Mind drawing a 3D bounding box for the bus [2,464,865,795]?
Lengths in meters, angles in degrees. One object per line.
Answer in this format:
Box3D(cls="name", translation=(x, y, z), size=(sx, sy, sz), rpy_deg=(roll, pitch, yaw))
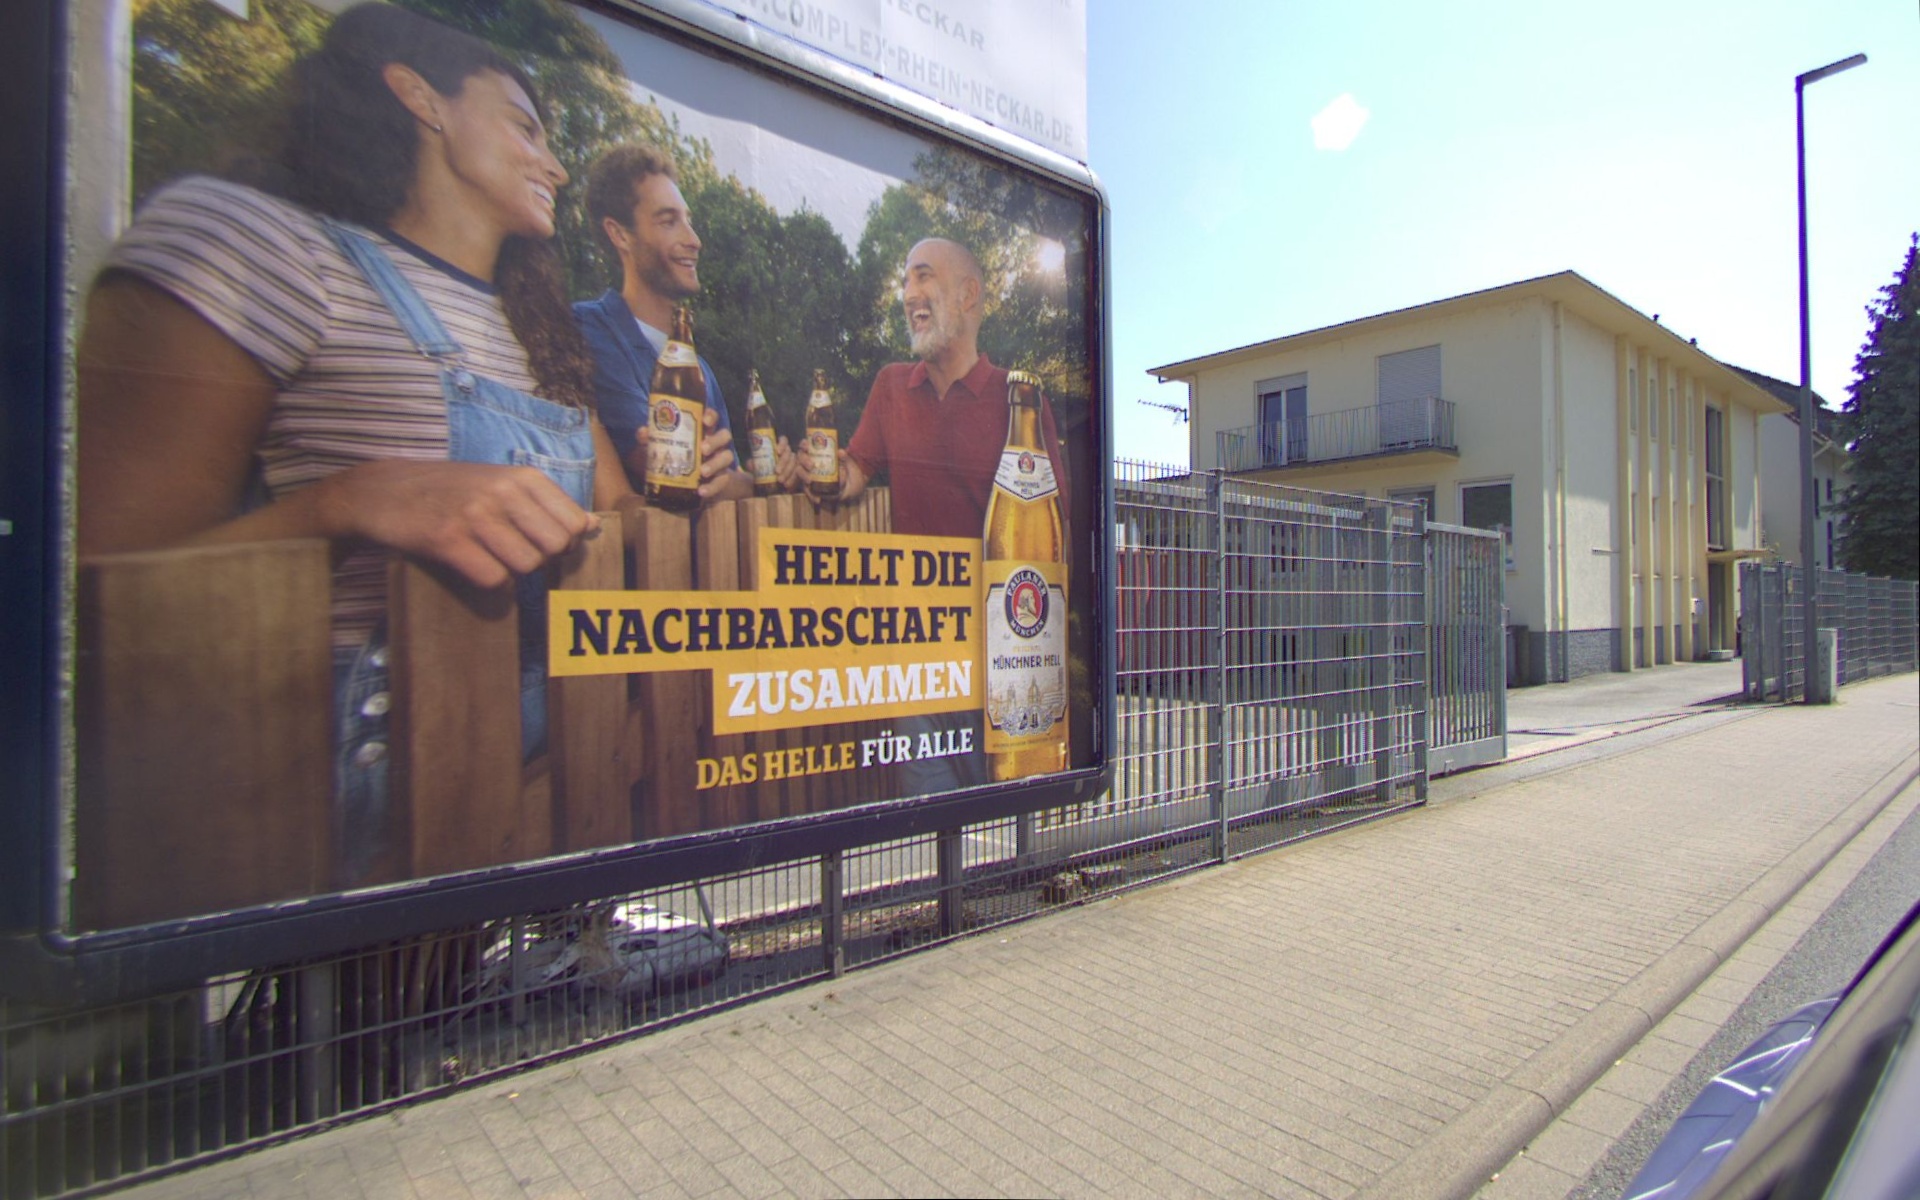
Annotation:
Box3D(cls="bus", translation=(-6.238, 0.161, 14.089), size=(10.088, 3.211, 2.570), rpy_deg=(-2, 0, -40))
